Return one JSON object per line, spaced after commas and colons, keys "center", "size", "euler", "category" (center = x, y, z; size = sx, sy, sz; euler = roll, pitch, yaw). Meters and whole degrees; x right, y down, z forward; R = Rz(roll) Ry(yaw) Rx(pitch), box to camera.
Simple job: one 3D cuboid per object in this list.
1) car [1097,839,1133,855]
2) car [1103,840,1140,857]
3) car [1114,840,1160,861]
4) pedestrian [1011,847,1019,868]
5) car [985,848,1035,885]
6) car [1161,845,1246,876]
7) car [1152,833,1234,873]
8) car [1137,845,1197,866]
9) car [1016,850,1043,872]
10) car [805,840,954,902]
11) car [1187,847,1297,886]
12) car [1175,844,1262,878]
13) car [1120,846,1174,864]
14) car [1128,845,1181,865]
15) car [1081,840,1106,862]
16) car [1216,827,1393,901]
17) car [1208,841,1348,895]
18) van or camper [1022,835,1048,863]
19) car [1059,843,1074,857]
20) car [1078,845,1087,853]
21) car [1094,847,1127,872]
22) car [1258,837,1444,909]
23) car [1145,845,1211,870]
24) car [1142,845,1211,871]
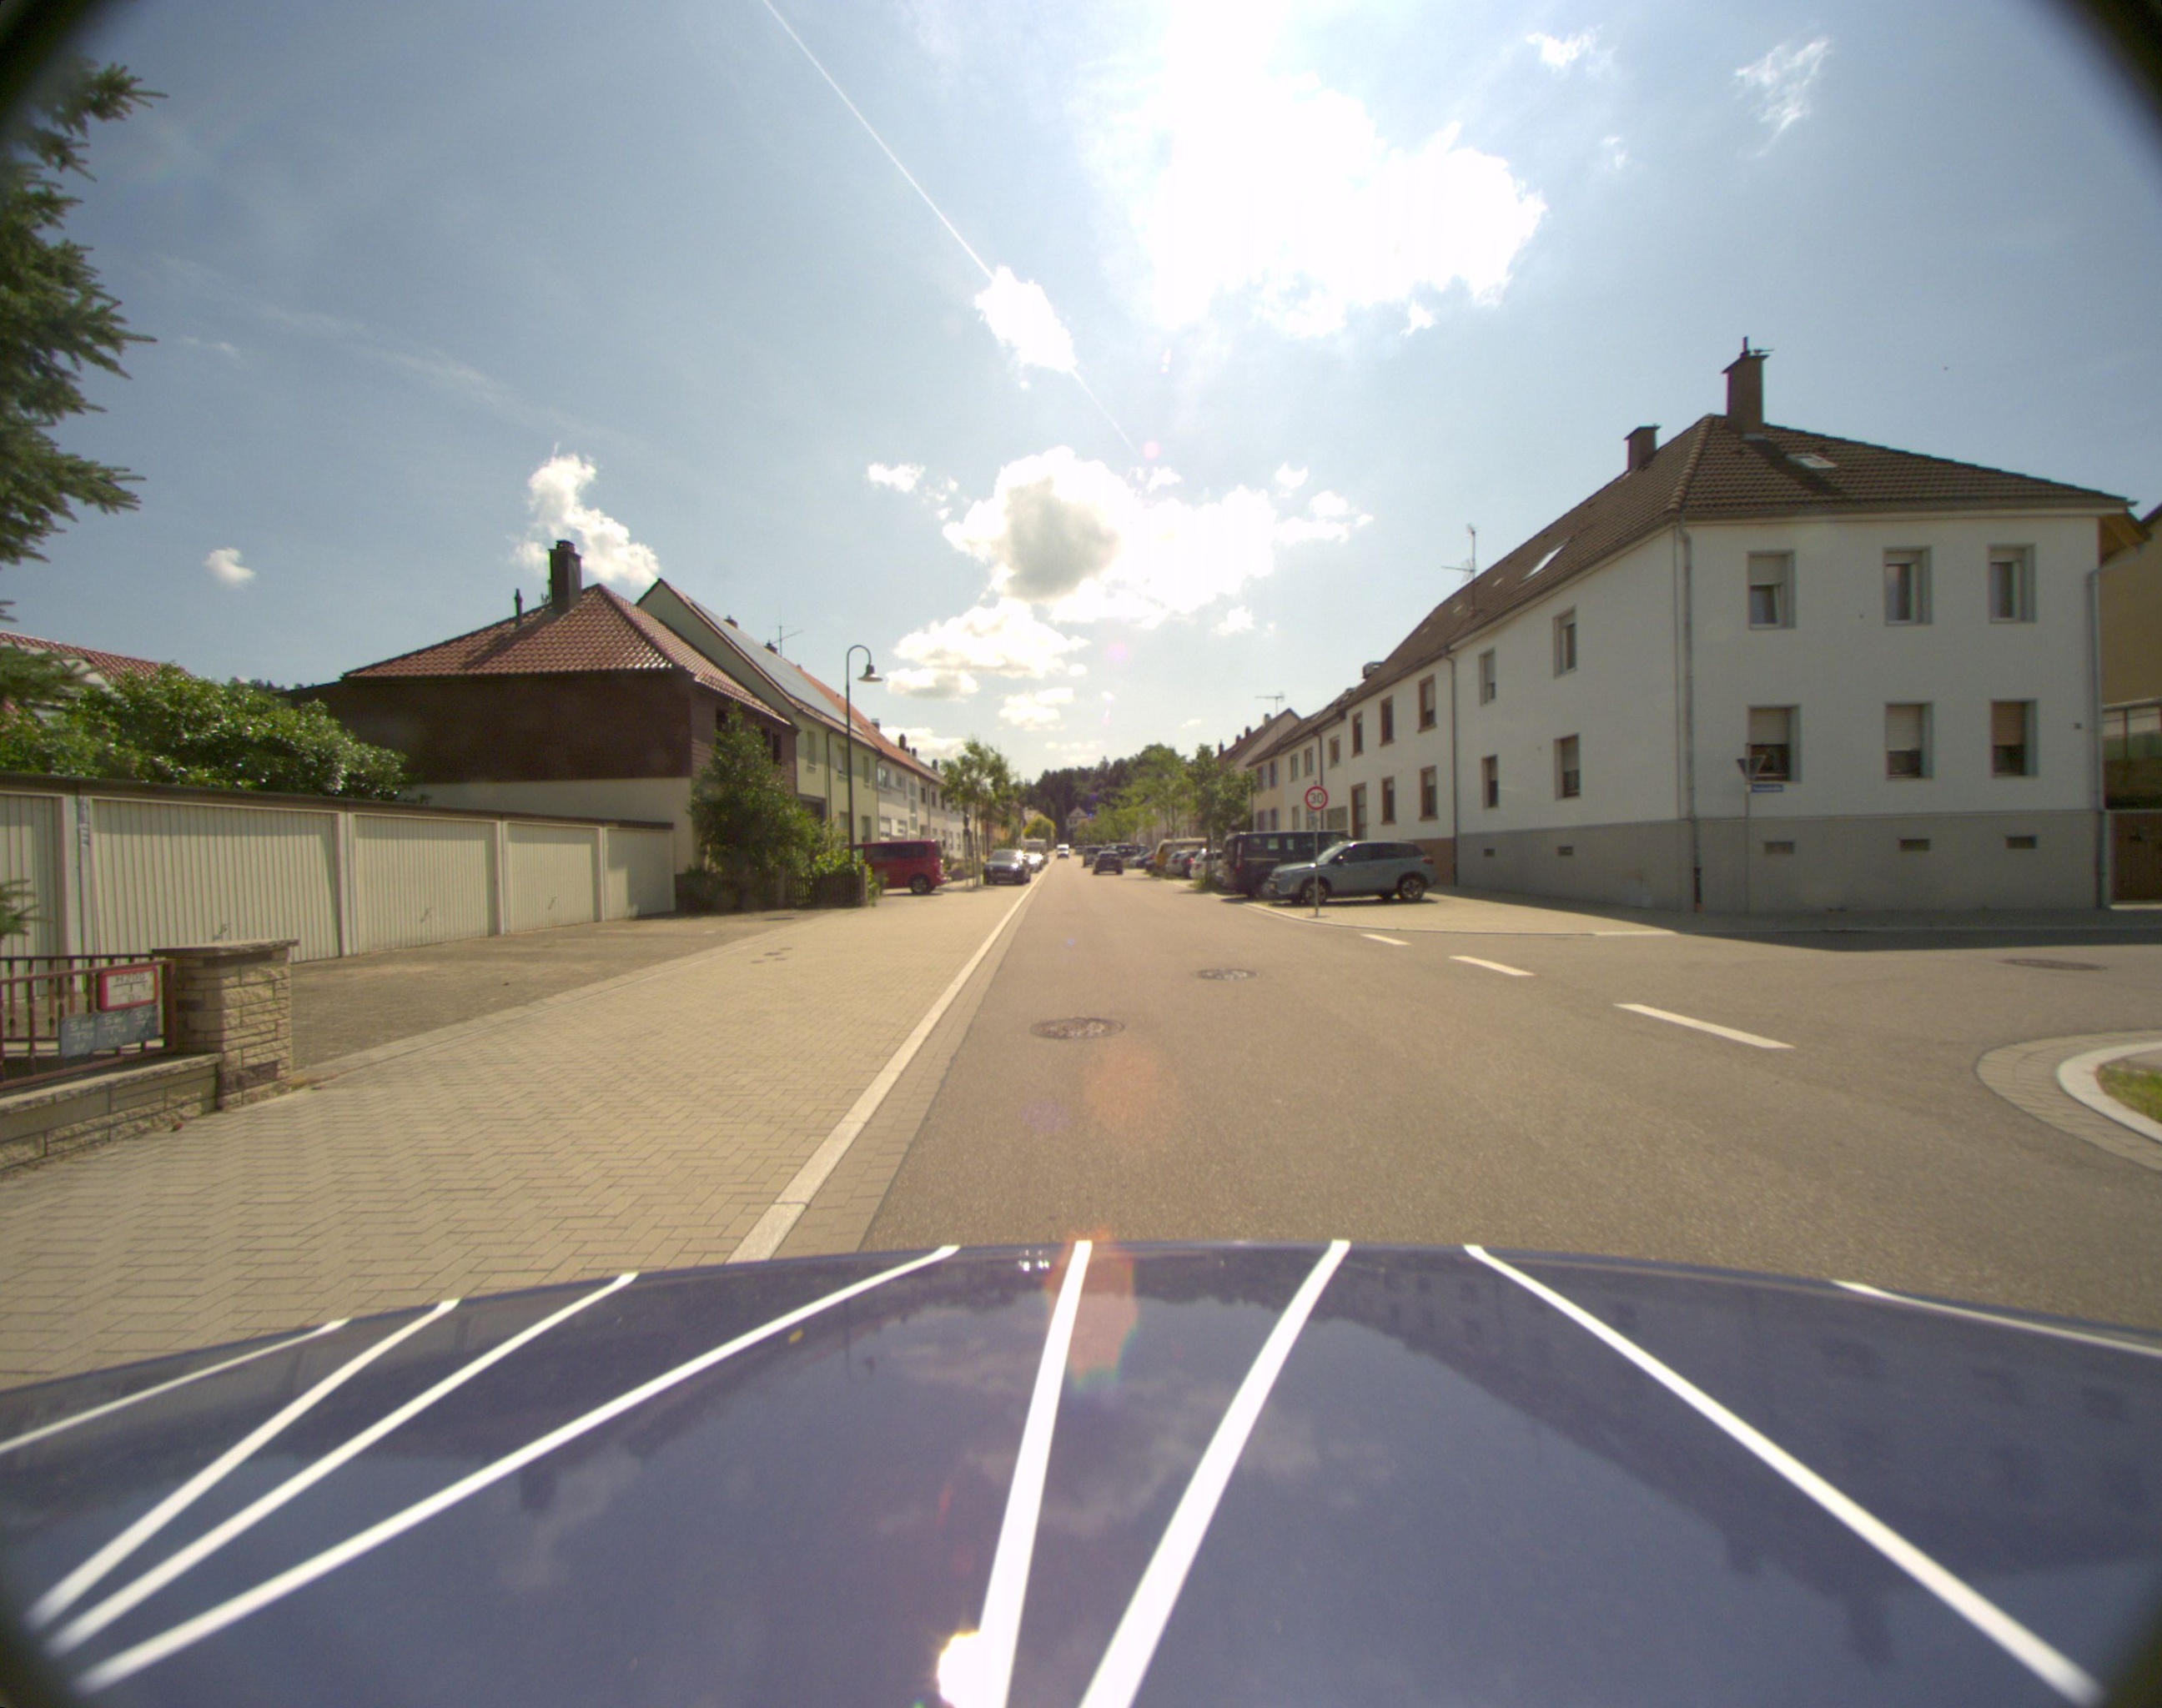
{"center": [5.156, -1.089, 116.193], "size": [5.180, 2.275, 2.156], "euler": [-3, 1, -3], "category": "car"}
{"center": [5.272, -0.729, 99.858], "size": [4.689, 1.896, 1.999], "euler": [-3, 2, -1], "category": "car"}
{"center": [5.777, -0.342, 78.534], "size": [4.624, 1.985, 1.952], "euler": [-2, 1, 1], "category": "car"}
{"center": [-5.513, 0.309, 63.636], "size": [0.559, 1.739, 0.673], "euler": [-1, 2, 0], "category": "pedestrian"}
{"center": [-3.286, 0.562, 36.070], "size": [1.869, 1.626, 4.446], "euler": [1, 0, 1], "category": "car"}
{"center": [6.553, 0.322, 40.750], "size": [4.085, 1.459, 1.752], "euler": [-2, 1, -9], "category": "car"}
{"center": [6.608, -0.089, 45.266], "size": [4.520, 2.165, 1.924], "euler": [-2, 1, -1], "category": "car"}
{"center": [6.700, 0.089, 59.476], "size": [4.416, 1.469, 1.775], "euler": [-2, 1, -5], "category": "car"}
{"center": [-3.803, 0.477, 56.596], "size": [1.837, 1.457, 4.518], "euler": [-2, 1, -3], "category": "car"}
{"center": [-6.974, 0.540, 26.704], "size": [4.631, 1.883, 2.019], "euler": [-3, 2, -2], "category": "car"}
{"center": [6.862, 0.504, 32.645], "size": [4.306, 1.459, 1.773], "euler": [-2, 2, 1], "category": "car"}
{"center": [6.815, 0.325, 37.861], "size": [3.892, 1.459, 1.657], "euler": [-2, 2, -9], "category": "car"}
{"center": [5.753, 0.091, 66.367], "size": [4.536, 1.417, 1.795], "euler": [-2, 1, -1], "category": "car"}
{"center": [5.982, 0.076, 62.385], "size": [4.065, 1.469, 1.775], "euler": [-2, 1, -4], "category": "car"}
{"center": [1.107, -0.331, 70.807], "size": [2.028, 1.939, 4.896], "euler": [-1, 1, -2], "category": "car"}
{"center": [6.637, 0.279, 22.949], "size": [4.712, 1.912, 1.937], "euler": [-3, 2, -1], "category": "car"}
{"center": [6.624, 0.432, 25.771], "size": [4.195, 1.560, 1.773], "euler": [-3, 2, -5], "category": "car"}
{"center": [-4.733, -0.498, 79.406], "size": [2.480, 2.794, 5.789], "euler": [0, 0, -1], "category": "van or camper"}
{"center": [-2.541, -0.687, 131.829], "size": [2.490, 2.306, 5.598], "euler": [-3, 1, -2], "category": "car"}
{"center": [0.327, -1.287, 193.486], "size": [1.999, 1.968, 3.998], "euler": [-1, 1, -2], "category": "car"}
{"center": [1.827, 0.300, 48.362], "size": [1.767, 1.514, 4.047], "euler": [0, 1, -2], "category": "car"}
{"center": [6.999, 0.464, 19.975], "size": [4.186, 1.610, 1.771], "euler": [-3, 2, -1], "category": "car"}
{"center": [6.737, 0.225, 53.151], "size": [4.264, 1.602, 1.842], "euler": [-2, 1, -2], "category": "car"}
{"center": [5.915, 0.230, 47.510], "size": [4.020, 1.451, 1.755], "euler": [-2, 1, -1], "category": "car"}
